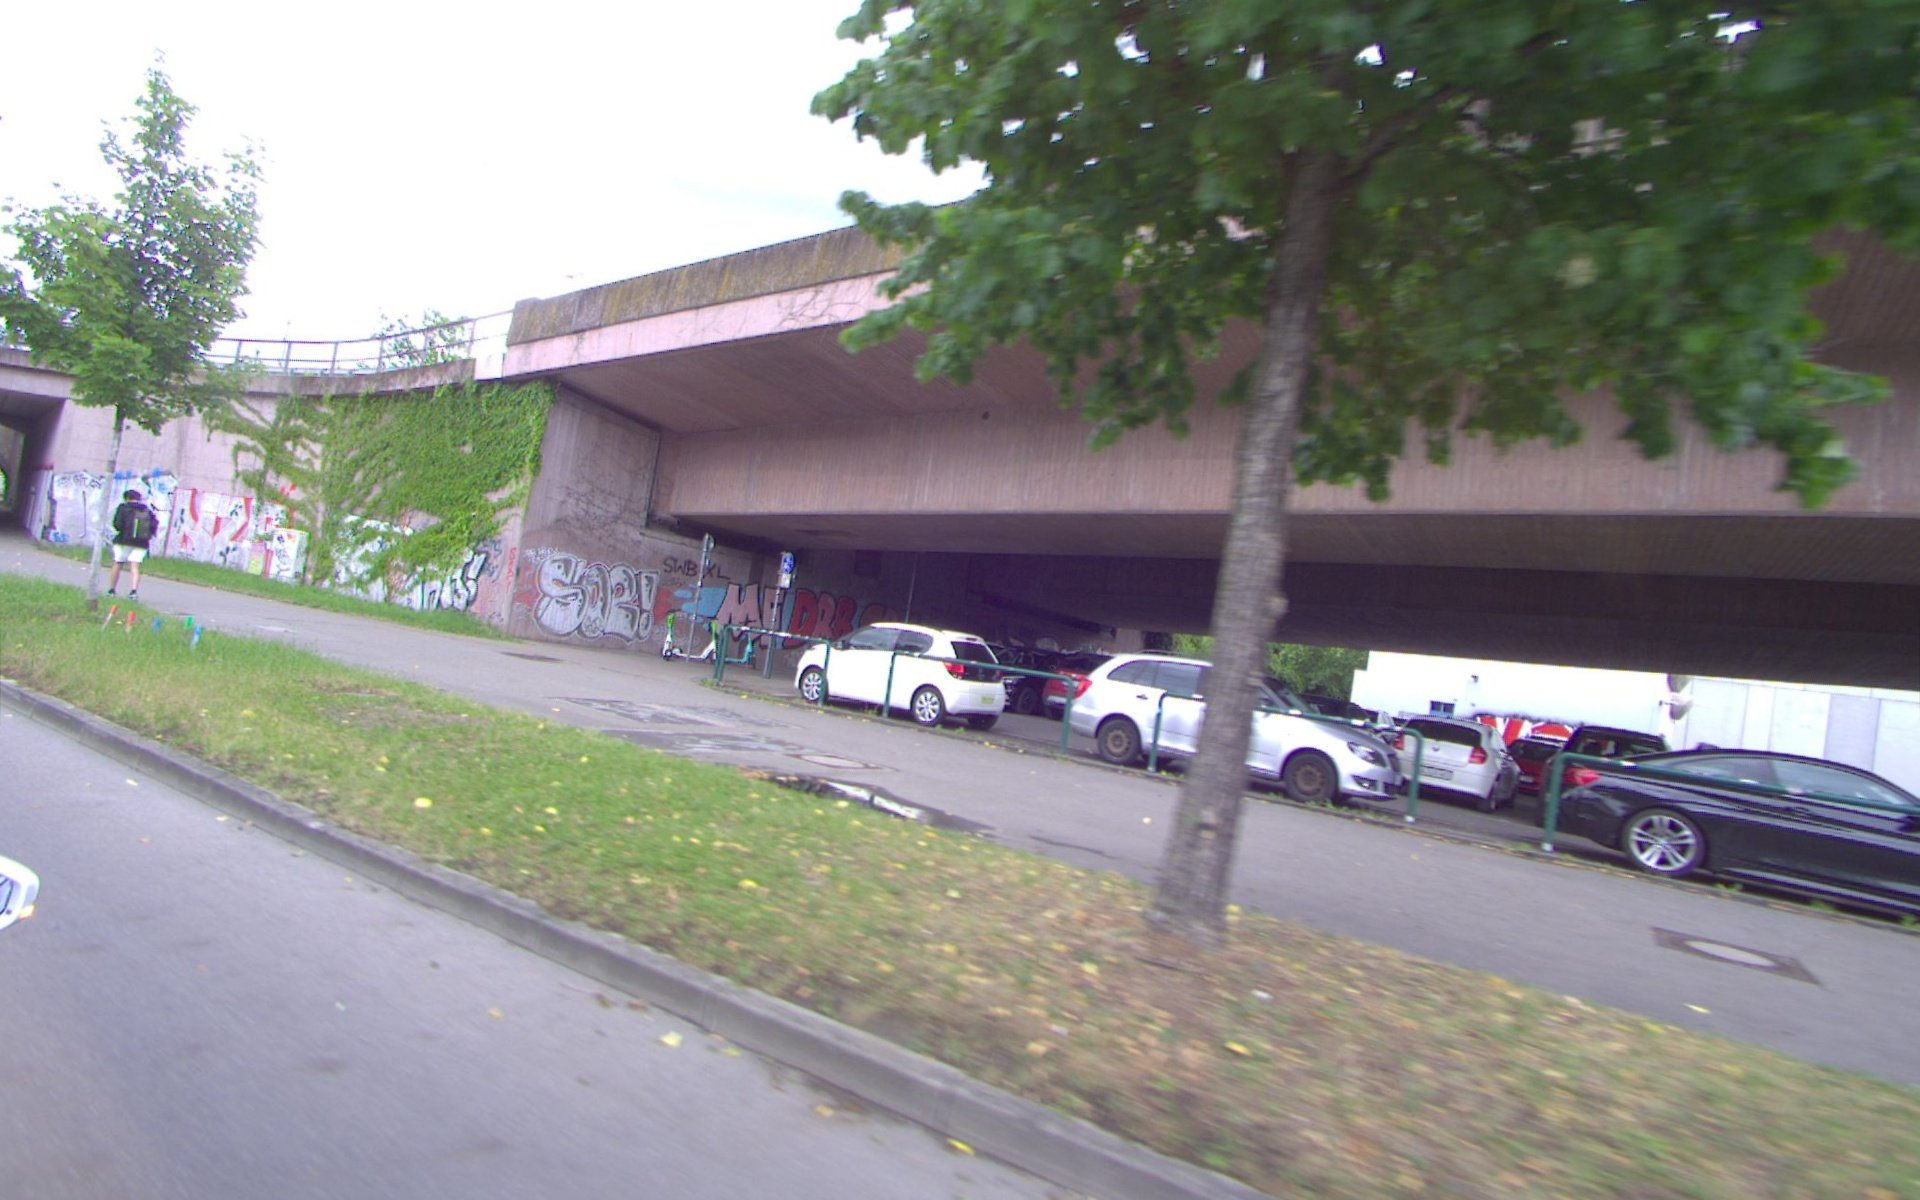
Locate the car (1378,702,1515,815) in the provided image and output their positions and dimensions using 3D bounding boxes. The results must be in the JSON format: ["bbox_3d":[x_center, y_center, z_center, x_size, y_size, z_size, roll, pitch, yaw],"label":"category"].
[{"bbox_3d":[8.579,2.723,17.572,1.728,1.449,3.861,8,-3,31],"label":"car"}]

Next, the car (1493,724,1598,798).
[{"bbox_3d":[17.860,4.891,30.569,2.059,1.695,5.097,8,-3,37],"label":"car"}]

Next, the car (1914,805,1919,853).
[{"bbox_3d":[32.702,7.701,32.686,1.810,1.609,4.184,8,-3,37],"label":"car"}]

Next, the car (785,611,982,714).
[{"bbox_3d":[-1.682,1.298,21.328,3.944,1.515,1.744,7,-3,42],"label":"car"}]

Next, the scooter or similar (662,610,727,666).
[{"bbox_3d":[-6.508,0.932,24.644,1.411,1.142,0.270,8,-1,8],"label":"scooter or similar"}]

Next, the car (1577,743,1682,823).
[{"bbox_3d":[16.399,4.438,24.573,1.810,1.442,3.855,8,-3,37],"label":"car"}]

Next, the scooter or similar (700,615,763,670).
[{"bbox_3d":[-5.822,1.090,25.636,1.411,1.181,0.270,8,-1,8],"label":"scooter or similar"}]

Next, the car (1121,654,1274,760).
[{"bbox_3d":[4.811,2.168,19.984,1.728,1.656,3.861,8,-3,31],"label":"car"}]

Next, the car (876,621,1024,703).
[{"bbox_3d":[-0.154,1.570,24.744,1.728,1.494,3.861,8,-3,31],"label":"car"}]

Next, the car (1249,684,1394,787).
[{"bbox_3d":[6.841,2.527,18.794,1.728,1.454,3.861,8,-3,31],"label":"car"}]

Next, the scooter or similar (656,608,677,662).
[{"bbox_3d":[-6.693,0.778,22.993,0.266,1.142,1.676,9,-2,-15],"label":"scooter or similar"}]

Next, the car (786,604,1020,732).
[{"bbox_3d":[-0.948,1.054,15.961,3.325,1.455,1.576,7,-3,37],"label":"car"}]

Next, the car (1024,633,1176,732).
[{"bbox_3d":[3.113,1.844,21.748,1.728,1.656,3.861,8,-3,31],"label":"car"}]

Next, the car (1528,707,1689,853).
[{"bbox_3d":[10.092,2.761,15.900,1.728,1.712,3.861,8,-3,31],"label":"car"}]

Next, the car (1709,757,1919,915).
[{"bbox_3d":[12.070,3.193,14.242,1.728,1.572,3.861,8,-3,31],"label":"car"}]

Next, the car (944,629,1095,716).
[{"bbox_3d":[1.451,1.703,22.901,1.728,1.494,3.861,8,-3,31],"label":"car"}]

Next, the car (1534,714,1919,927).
[{"bbox_3d":[8.134,2.153,9.656,4.306,1.335,1.769,7,-4,36],"label":"car"}]

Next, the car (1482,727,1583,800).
[{"bbox_3d":[14.628,4.167,25.626,1.653,1.442,3.855,8,-3,37],"label":"car"}]

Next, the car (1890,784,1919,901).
[{"bbox_3d":[13.605,3.349,12.770,1.670,1.572,3.861,8,-3,31],"label":"car"}]

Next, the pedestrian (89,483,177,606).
[{"bbox_3d":[-14.041,-0.938,17.078,0.812,1.929,0.736,7,-2,34],"label":"pedestrian"}]

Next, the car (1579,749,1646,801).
[{"bbox_3d":[25.874,6.902,39.846,1.810,1.609,4.184,8,-3,37],"label":"car"}]

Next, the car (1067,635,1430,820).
[{"bbox_3d":[3.610,1.545,12.826,4.003,1.552,1.616,7,-3,33],"label":"car"}]
